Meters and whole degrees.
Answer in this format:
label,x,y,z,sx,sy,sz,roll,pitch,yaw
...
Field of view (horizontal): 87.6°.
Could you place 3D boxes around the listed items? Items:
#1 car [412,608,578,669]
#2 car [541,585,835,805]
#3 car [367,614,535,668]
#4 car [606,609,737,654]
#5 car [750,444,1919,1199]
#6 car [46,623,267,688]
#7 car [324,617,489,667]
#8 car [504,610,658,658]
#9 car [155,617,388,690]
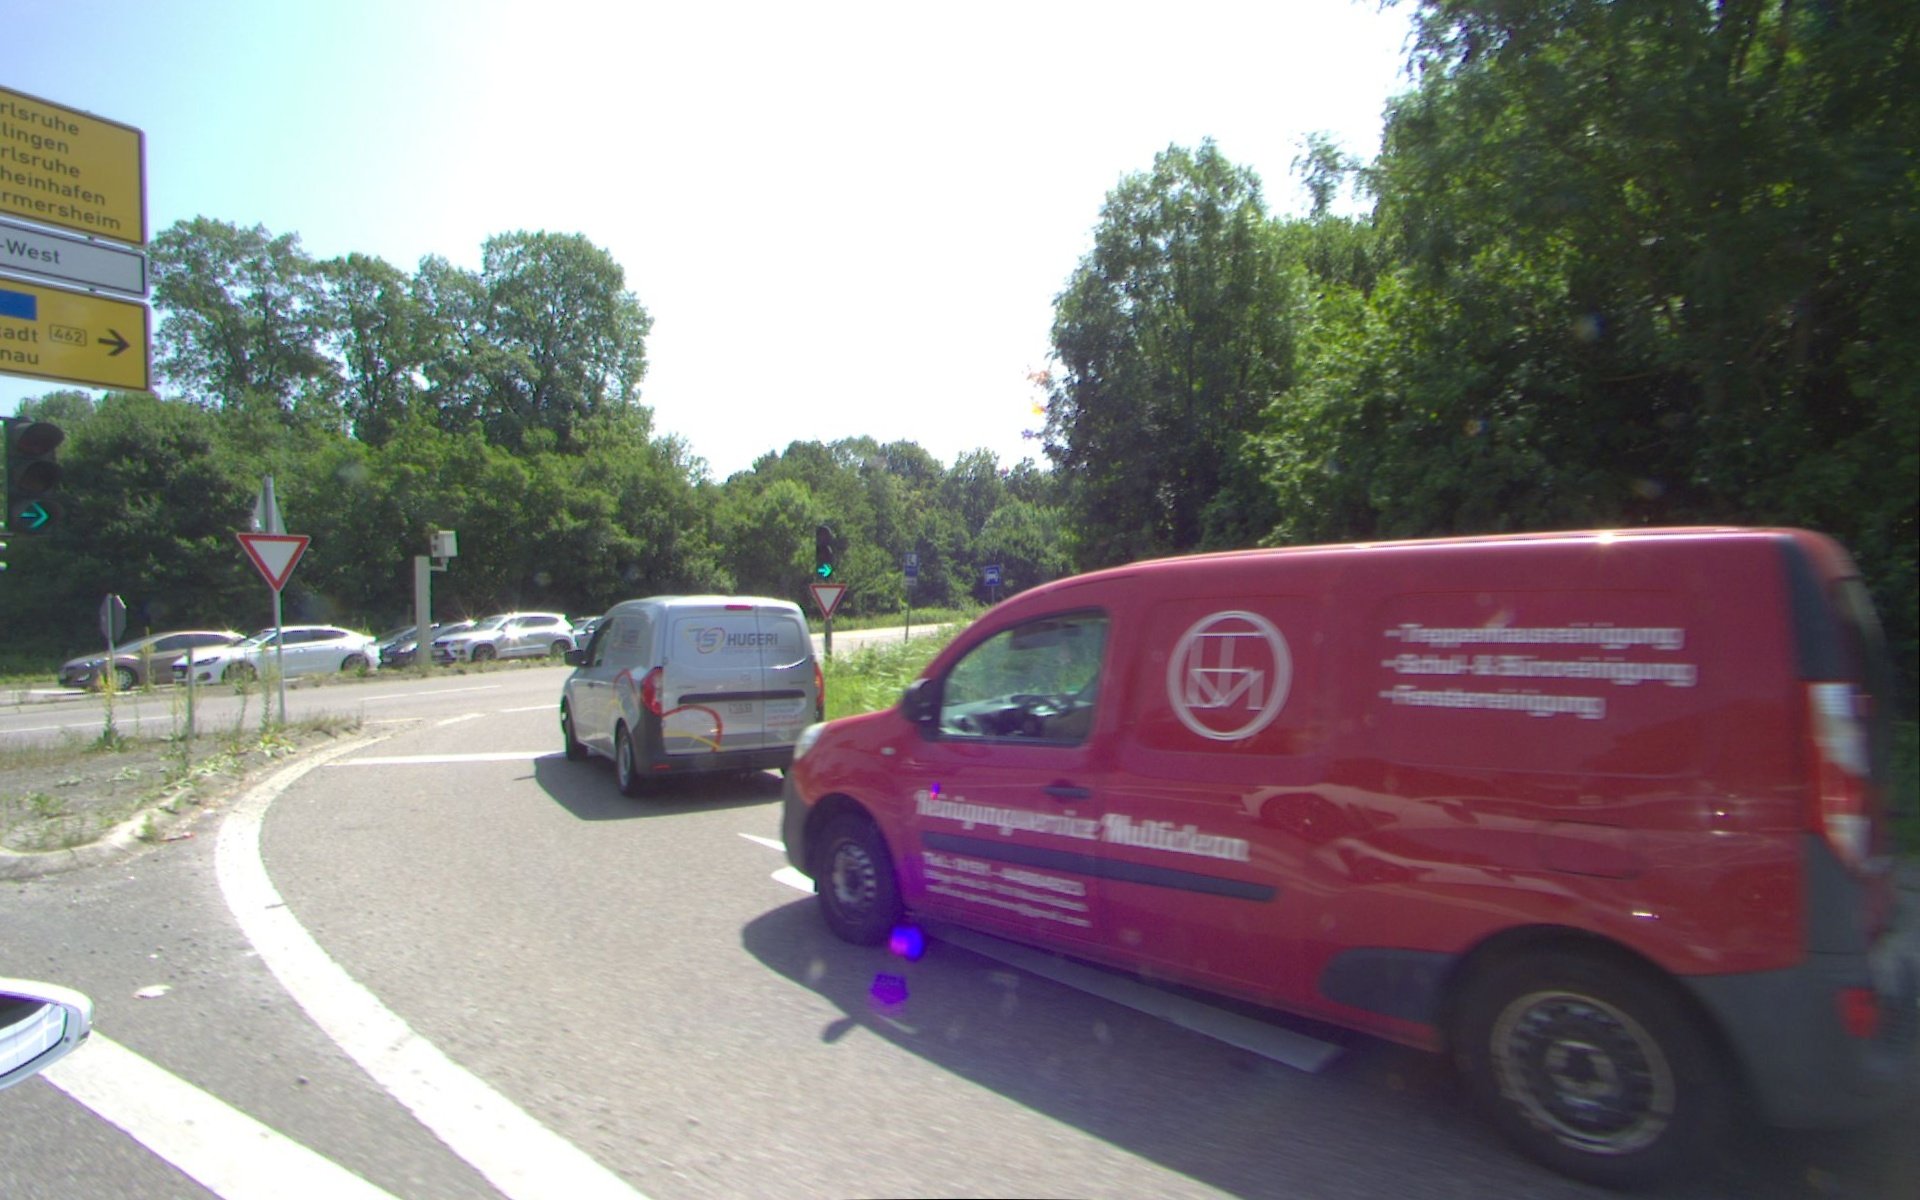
label,x,y,z,sx,sy,sz,roll,pitch,yaw
car,-14.086,1.121,30.557,1.972,1.681,4.163,-1,0,32
car,-2.992,0.806,10.371,1.738,1.796,4.087,-1,0,-33
car,-16.427,1.292,32.511,2.092,1.555,4.410,-2,-1,32
car,-10.360,1.127,36.248,1.946,1.433,4.320,-2,0,33
car,1.118,0.652,4.321,4.449,1.846,1.782,-2,-2,44
car,-20.934,1.399,26.269,1.966,1.466,4.085,-1,0,30
car,-19.201,1.430,34.964,2.082,1.518,4.606,-2,-1,32
car,-14.094,1.237,37.551,2.108,1.553,5.117,-2,0,32
car,-17.143,1.269,25.169,1.971,1.555,4.412,-1,0,31
